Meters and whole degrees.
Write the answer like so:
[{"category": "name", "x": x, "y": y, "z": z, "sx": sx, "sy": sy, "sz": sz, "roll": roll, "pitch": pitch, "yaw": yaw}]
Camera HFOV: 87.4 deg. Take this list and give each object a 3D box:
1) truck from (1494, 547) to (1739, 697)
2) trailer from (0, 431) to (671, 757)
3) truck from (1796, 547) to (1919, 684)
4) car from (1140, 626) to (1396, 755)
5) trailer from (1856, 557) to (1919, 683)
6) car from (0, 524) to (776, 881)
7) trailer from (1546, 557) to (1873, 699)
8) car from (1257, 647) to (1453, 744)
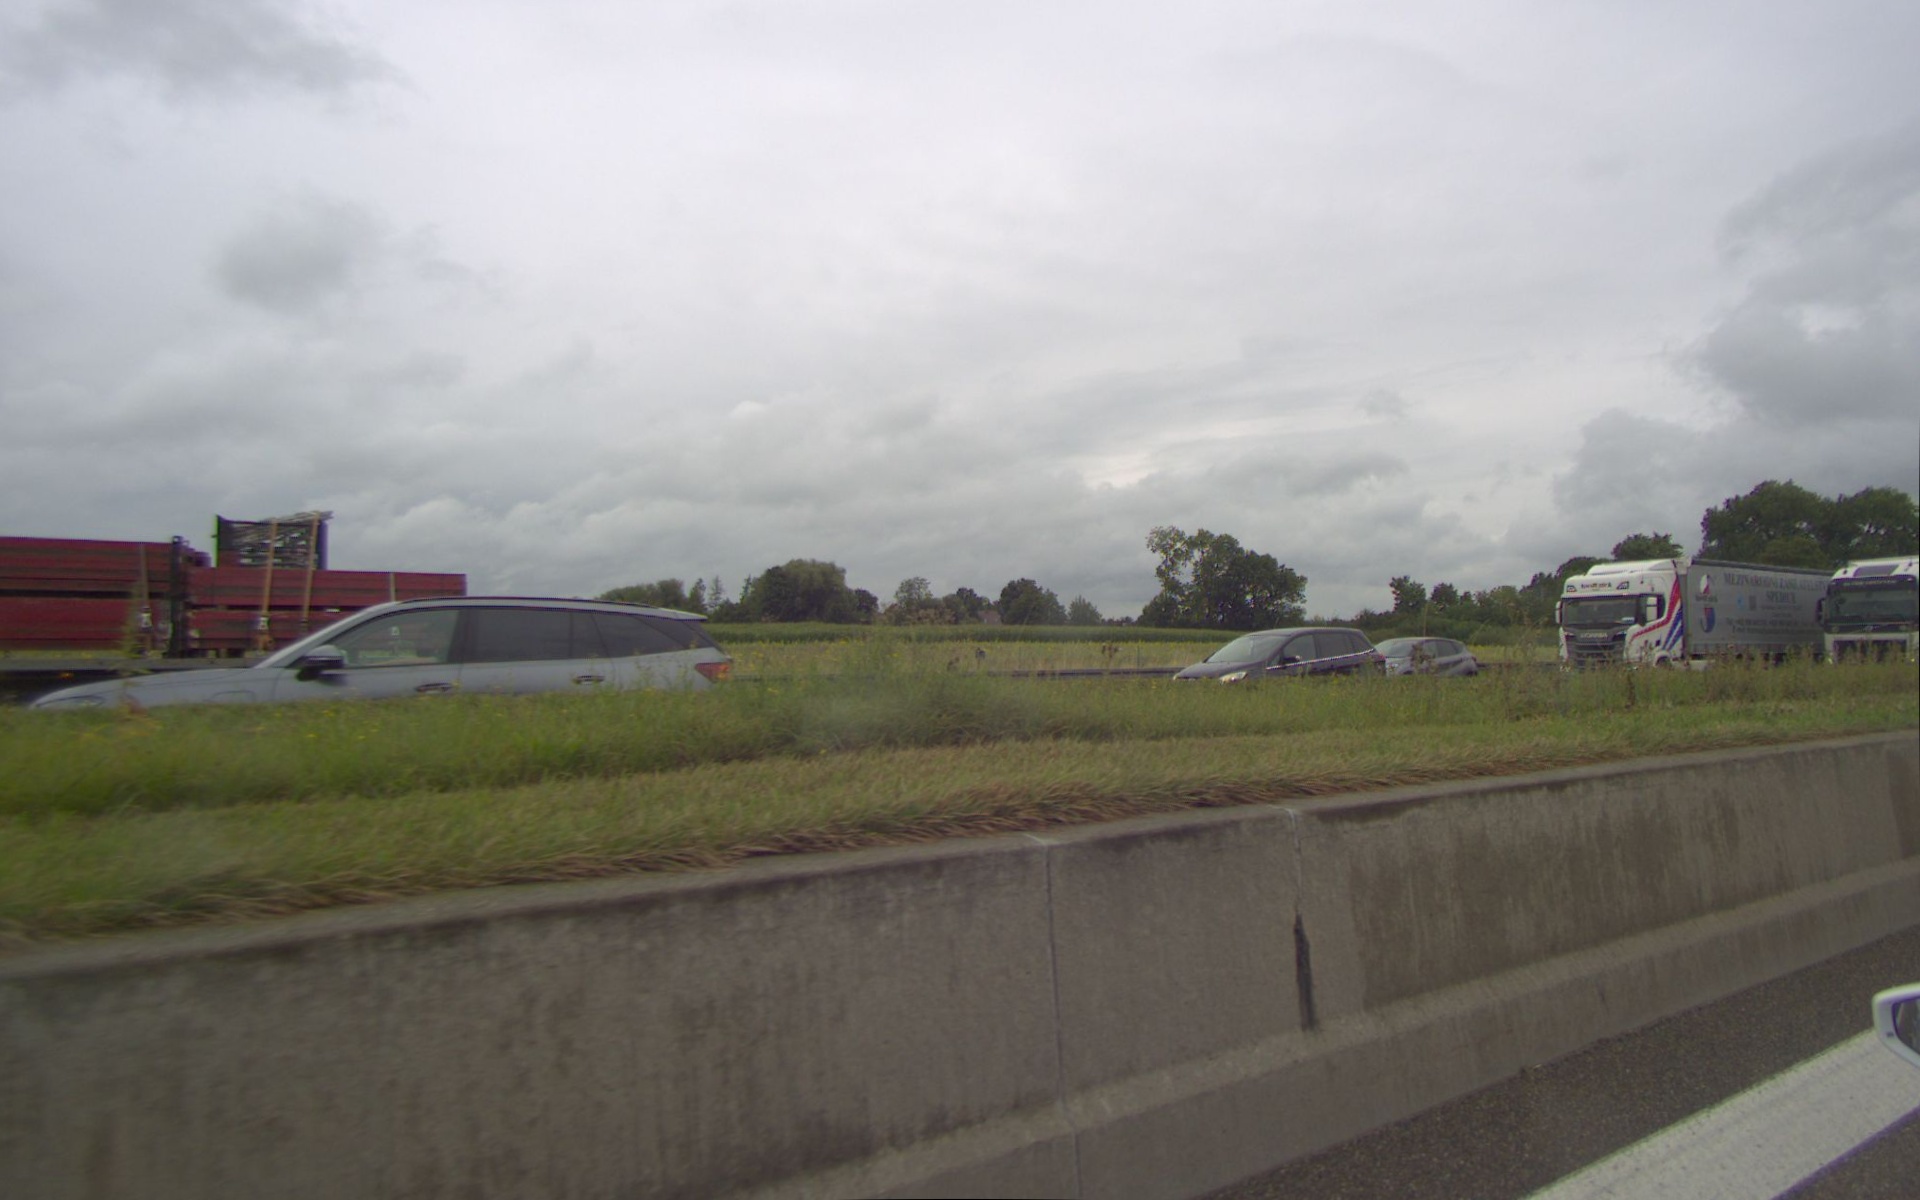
[{"category": "truck", "x": 21.249, "y": 0.734, "z": 32.436, "sx": 7.503, "sy": 4.331, "sz": 3.598, "roll": 2, "pitch": 0, "yaw": -30}, {"category": "trailer", "x": -10.317, "y": -0.074, "z": 13.654, "sx": 12.050, "sy": 3.776, "sz": 2.628, "roll": 0, "pitch": 1, "yaw": -31}, {"category": "truck", "x": 30.093, "y": 0.532, "z": 32.178, "sx": 6.297, "sy": 4.028, "sz": 3.077, "roll": 2, "pitch": 0, "yaw": -30}, {"category": "car", "x": 5.507, "y": 1.505, "z": 17.865, "sx": 4.309, "sy": 2.040, "sz": 1.984, "roll": 1, "pitch": -2, "yaw": -30}, {"category": "trailer", "x": 36.612, "y": 0.841, "z": 35.990, "sx": 12.186, "sy": 4.143, "sz": 3.071, "roll": 2, "pitch": 0, "yaw": -30}, {"category": "car", "x": -4.026, "y": 0.652, "z": 7.766, "sx": 4.744, "sy": 2.040, "sz": 1.984, "roll": 1, "pitch": -2, "yaw": -30}, {"category": "trailer", "x": 27.314, "y": 1.080, "z": 36.101, "sx": 15.442, "sy": 4.328, "sz": 3.695, "roll": 2, "pitch": 0, "yaw": -30}, {"category": "car", "x": 9.407, "y": 2.173, "z": 23.855, "sx": 4.567, "sy": 2.040, "sz": 1.984, "roll": 1, "pitch": -2, "yaw": -30}]
